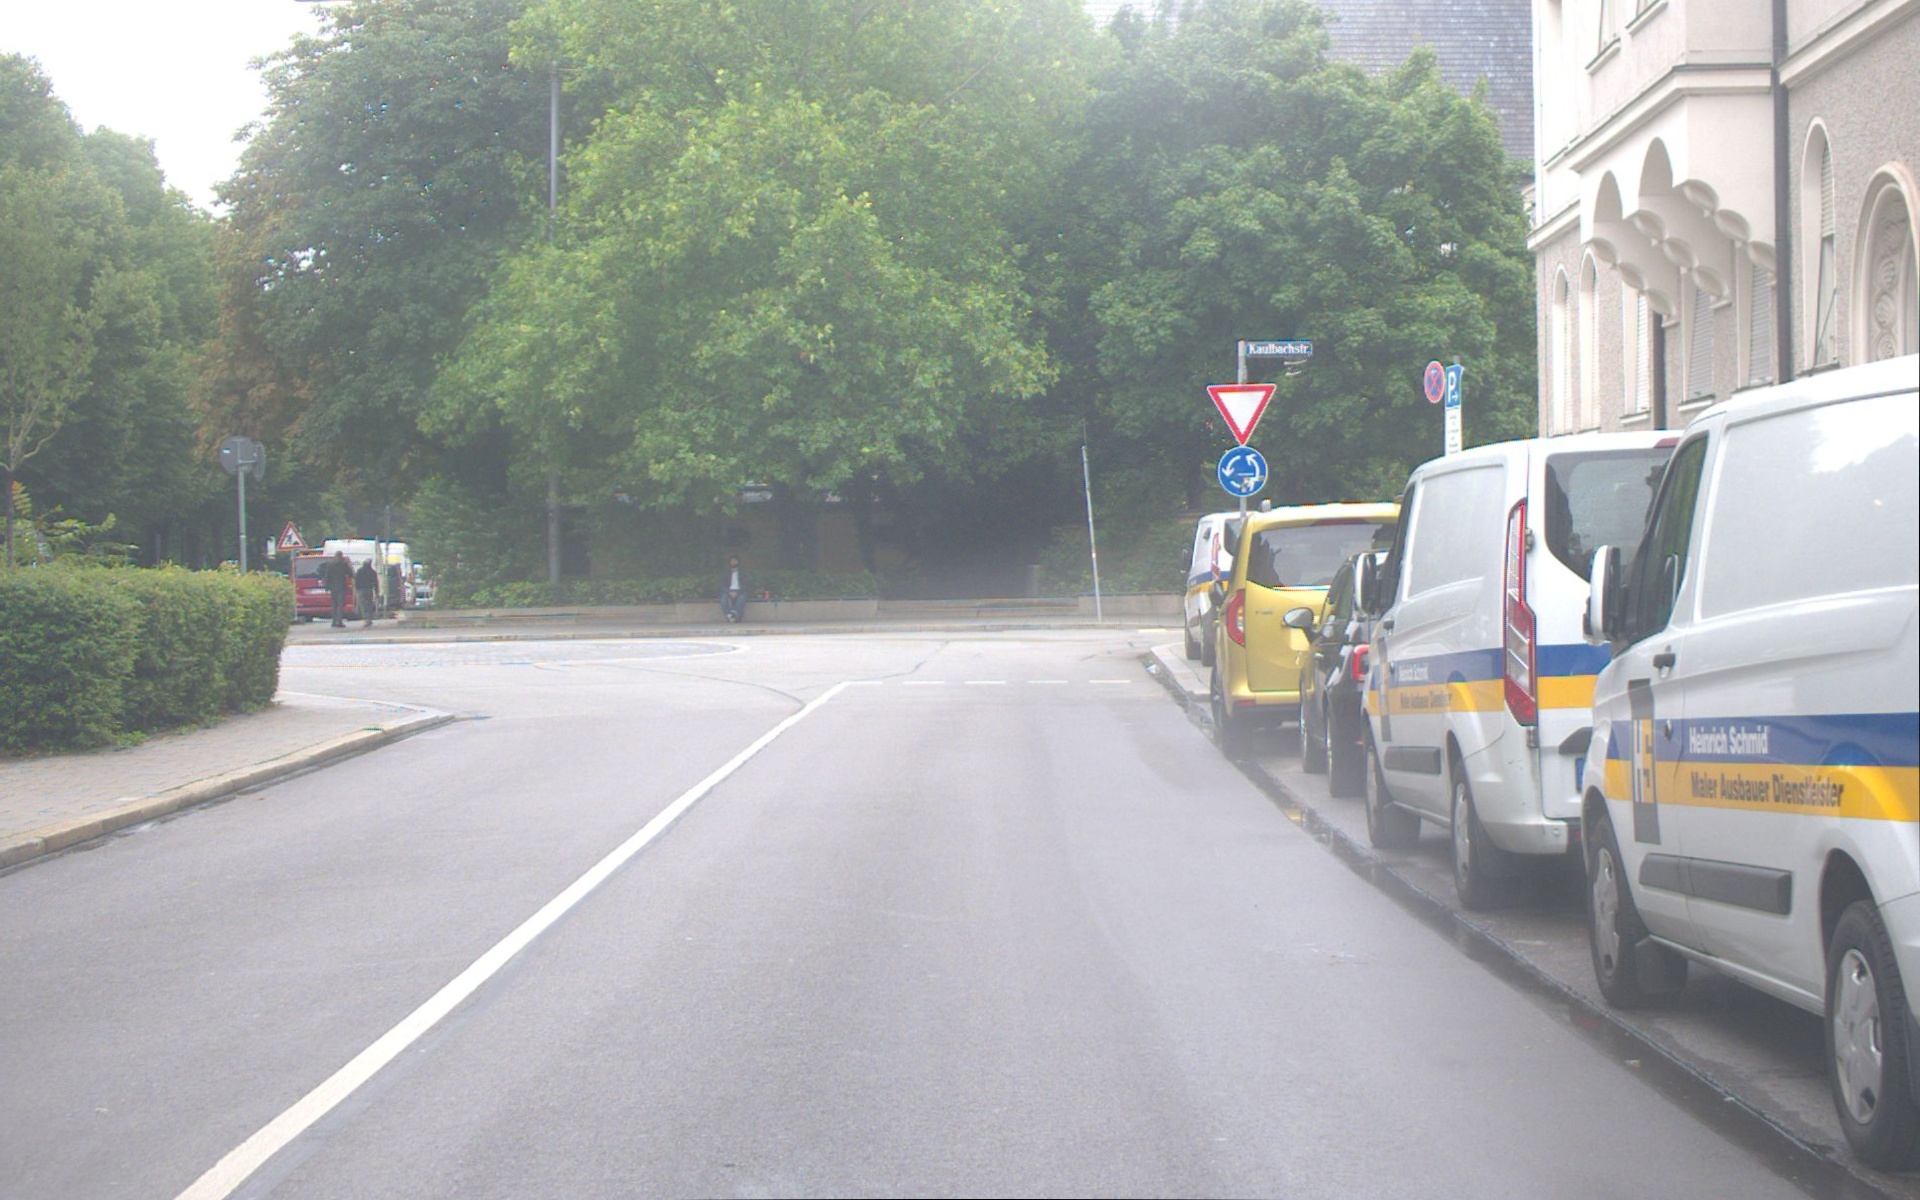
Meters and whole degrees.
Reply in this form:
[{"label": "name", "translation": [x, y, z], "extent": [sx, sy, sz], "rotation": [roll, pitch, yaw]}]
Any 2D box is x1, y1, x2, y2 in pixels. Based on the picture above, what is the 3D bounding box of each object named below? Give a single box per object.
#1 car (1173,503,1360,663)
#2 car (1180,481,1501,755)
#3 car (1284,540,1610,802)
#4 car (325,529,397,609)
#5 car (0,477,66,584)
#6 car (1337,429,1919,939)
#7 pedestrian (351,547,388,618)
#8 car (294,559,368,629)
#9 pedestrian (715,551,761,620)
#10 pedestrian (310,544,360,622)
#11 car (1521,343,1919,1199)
[{"label": "car", "translation": [3.961, -0.258, 45.235], "extent": [1.938, 1.915, 5.375], "rotation": [-2, 1, 0]}, {"label": "car", "translation": [2.856, 0.097, 26.740], "extent": [1.993, 1.912, 4.571], "rotation": [-1, 1, 1]}, {"label": "car", "translation": [3.022, 0.382, 21.988], "extent": [1.633, 1.509, 3.885], "rotation": [-1, 1, 2]}, {"label": "car", "translation": [-19.774, -1.039, 113.690], "extent": [1.993, 2.549, 5.431], "rotation": [-1, 1, -7]}, {"label": "car", "translation": [-27.469, -1.964, 99.700], "extent": [2.172, 2.992, 6.235], "rotation": [-1, 1, -7]}, {"label": "car", "translation": [2.990, 0.282, 15.561], "extent": [1.993, 1.912, 4.886], "rotation": [-1, 1, 0]}, {"label": "pedestrian", "translation": [-13.949, -0.417, 81.257], "extent": [0.633, 1.661, 0.697], "rotation": [-2, 1, -29]}, {"label": "car", "translation": [-17.900, -0.193, 97.928], "extent": [1.911, 1.930, 4.970], "rotation": [-1, 1, -9]}, {"label": "pedestrian", "translation": [-4.393, -0.291, 68.148], "extent": [0.769, 1.352, 1.131], "rotation": [-1, 1, 2]}, {"label": "pedestrian", "translation": [-14.790, -0.404, 81.389], "extent": [0.820, 1.830, 0.952], "rotation": [-2, 1, -34]}, {"label": "car", "translation": [3.026, 0.353, 9.621], "extent": [1.993, 1.912, 4.878], "rotation": [-1, 1, -1]}]
